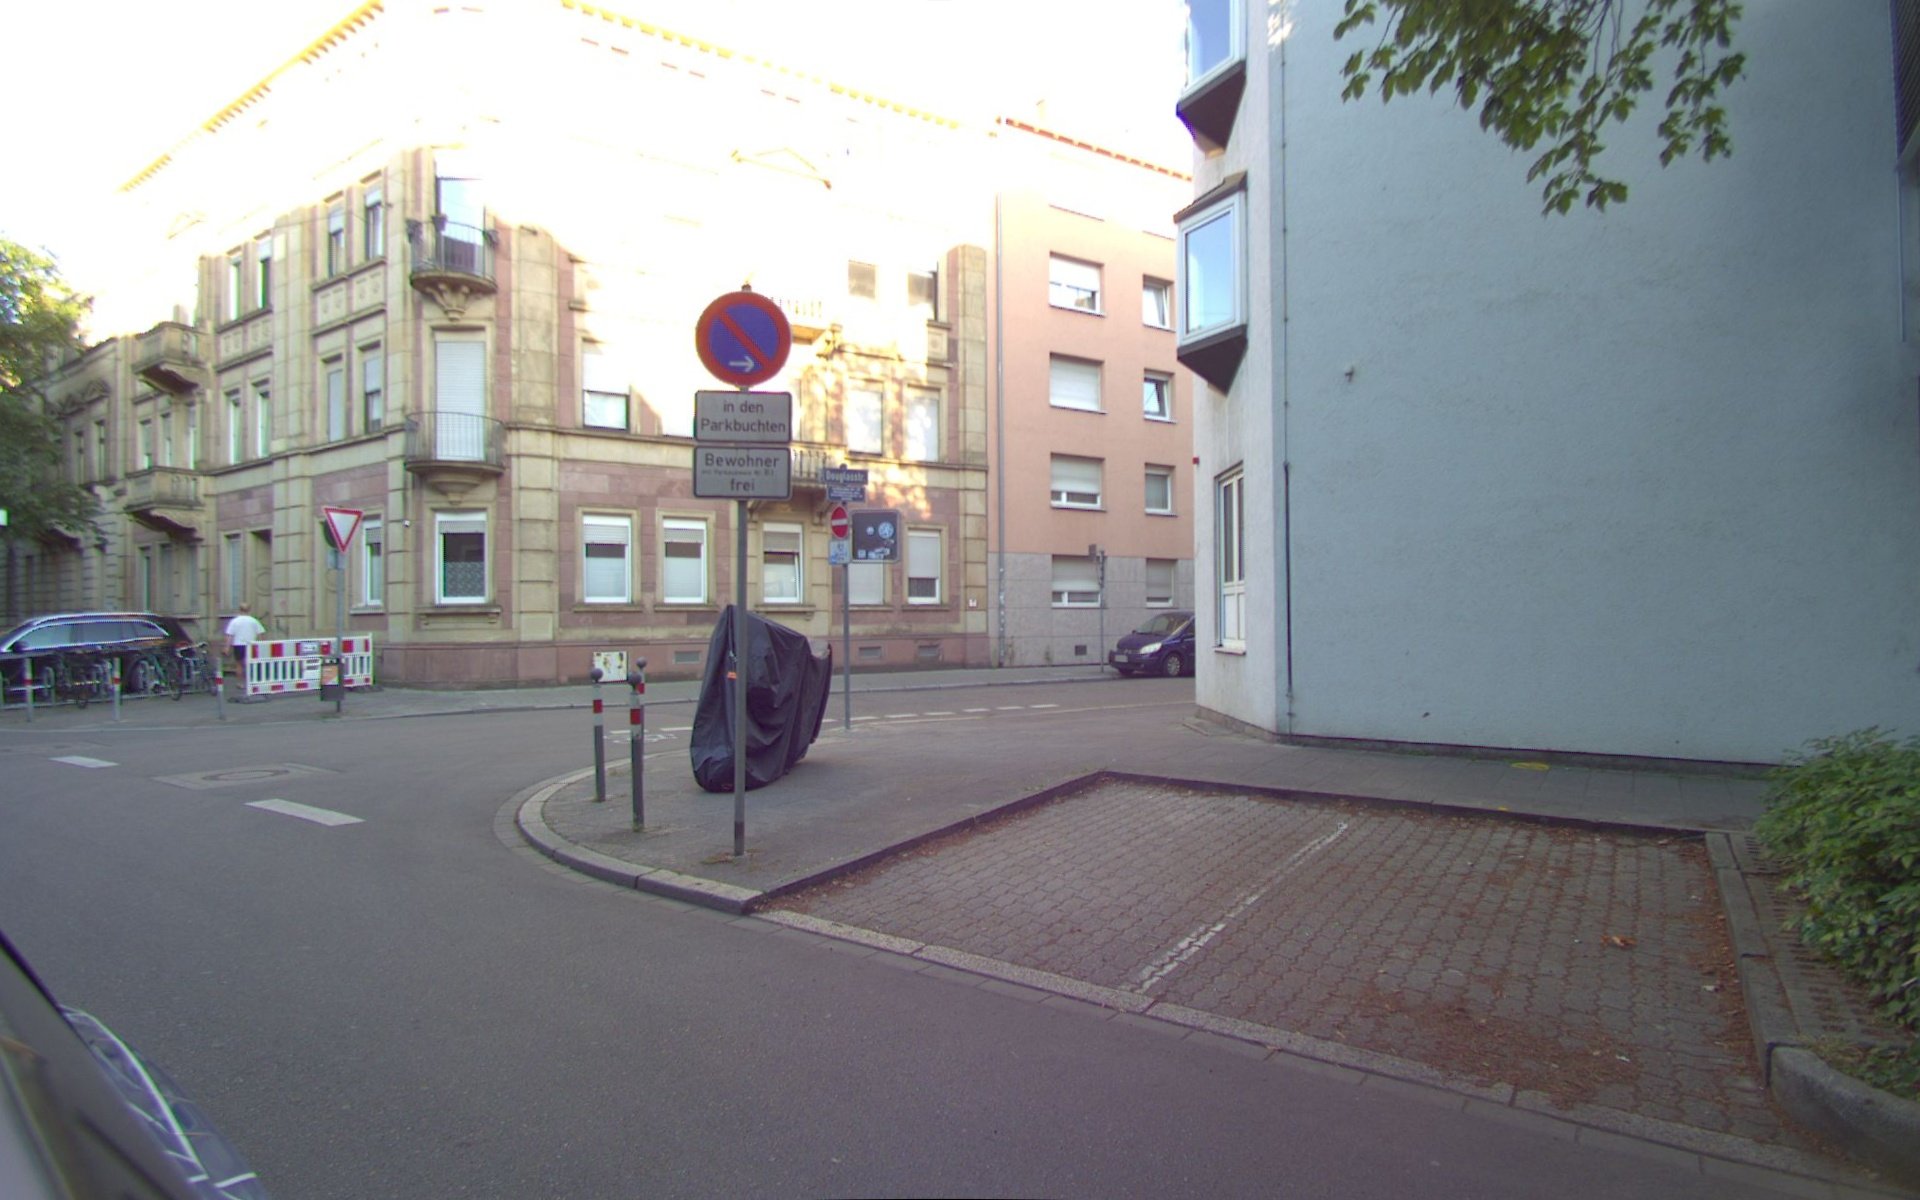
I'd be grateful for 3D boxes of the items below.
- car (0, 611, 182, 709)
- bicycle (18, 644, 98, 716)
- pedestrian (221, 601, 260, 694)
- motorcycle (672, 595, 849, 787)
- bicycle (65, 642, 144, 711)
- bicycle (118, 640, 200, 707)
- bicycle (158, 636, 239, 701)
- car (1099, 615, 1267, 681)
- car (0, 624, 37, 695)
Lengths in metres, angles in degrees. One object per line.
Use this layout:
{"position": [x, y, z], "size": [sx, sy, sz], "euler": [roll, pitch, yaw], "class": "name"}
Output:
{"position": [-17.914, 1.126, 19.473], "size": [1.740, 1.795, 4.369], "euler": [-1, -2, 38], "class": "car"}
{"position": [-15.624, 1.356, 17.523], "size": [2.034, 1.159, 0.555], "euler": [-1, -1, 34], "class": "bicycle"}
{"position": [-14.293, 0.930, 20.110], "size": [0.564, 1.821, 0.652], "euler": [0, -2, -42], "class": "pedestrian"}
{"position": [-1.725, 0.747, 9.201], "size": [0.809, 1.516, 2.276], "euler": [-1, -1, 10], "class": "motorcycle"}
{"position": [-15.271, 1.332, 18.052], "size": [2.034, 1.159, 0.555], "euler": [-1, -1, 34], "class": "bicycle"}
{"position": [-14.800, 1.335, 18.680], "size": [2.033, 1.159, 0.556], "euler": [-1, -1, 33], "class": "bicycle"}
{"position": [-14.445, 1.274, 19.184], "size": [2.033, 1.159, 0.556], "euler": [-1, -1, 33], "class": "bicycle"}
{"position": [5.737, 1.168, 25.852], "size": [4.297, 1.529, 1.789], "euler": [1, -2, -36], "class": "car"}
{"position": [-24.305, 1.411, 23.391], "size": [1.740, 1.690, 4.190], "euler": [-1, -2, 39], "class": "car"}
